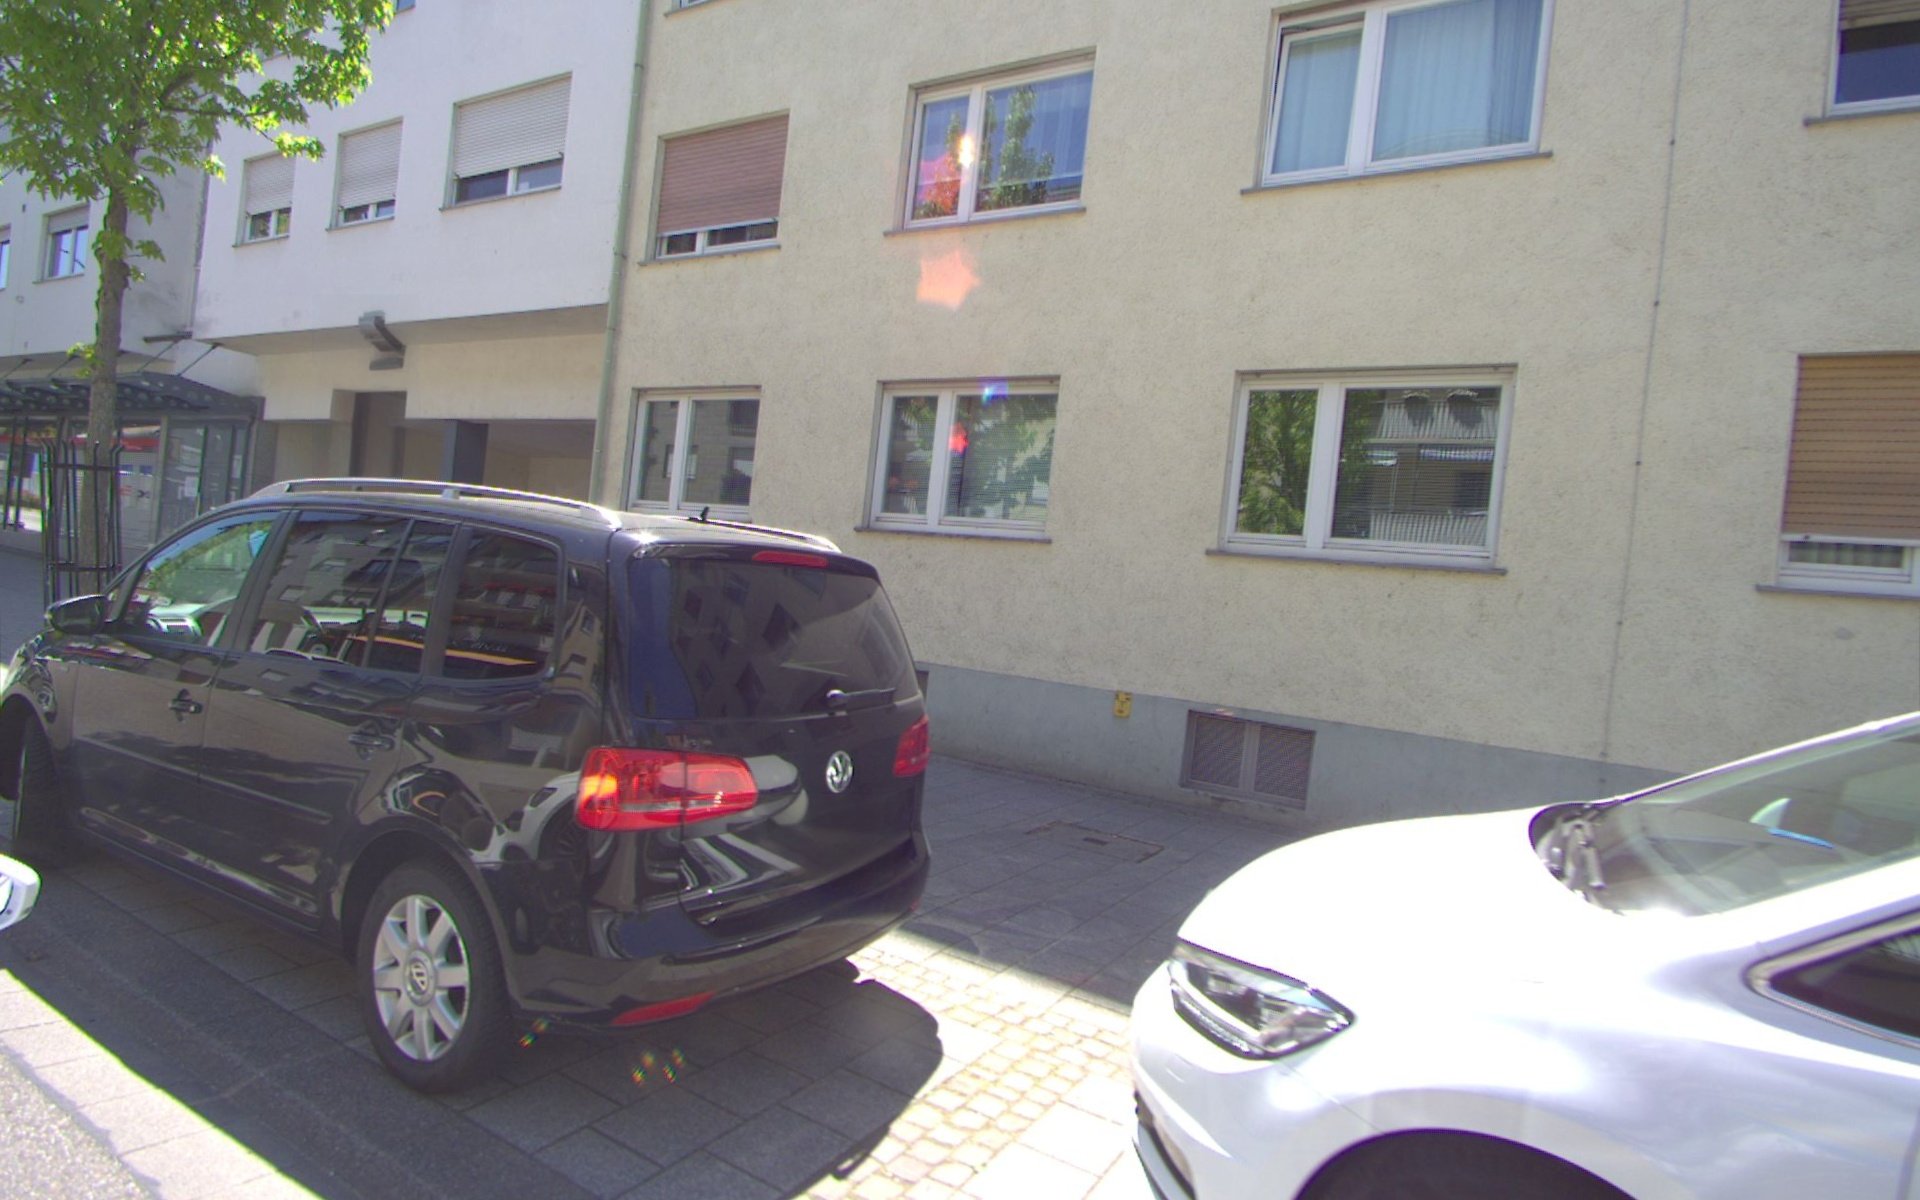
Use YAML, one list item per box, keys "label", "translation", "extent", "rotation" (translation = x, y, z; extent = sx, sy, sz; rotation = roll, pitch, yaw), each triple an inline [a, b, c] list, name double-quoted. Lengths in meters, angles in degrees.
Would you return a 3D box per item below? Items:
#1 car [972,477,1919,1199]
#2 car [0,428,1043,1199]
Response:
- label: "car"
  translation: [2.535, 0.875, 1.694]
  extent: [4.610, 1.696, 1.898]
  rotation: [7, 1, 29]
- label: "car"
  translation: [-2.152, 0.356, 4.048]
  extent: [4.459, 1.696, 1.858]
  rotation: [7, 1, 29]
